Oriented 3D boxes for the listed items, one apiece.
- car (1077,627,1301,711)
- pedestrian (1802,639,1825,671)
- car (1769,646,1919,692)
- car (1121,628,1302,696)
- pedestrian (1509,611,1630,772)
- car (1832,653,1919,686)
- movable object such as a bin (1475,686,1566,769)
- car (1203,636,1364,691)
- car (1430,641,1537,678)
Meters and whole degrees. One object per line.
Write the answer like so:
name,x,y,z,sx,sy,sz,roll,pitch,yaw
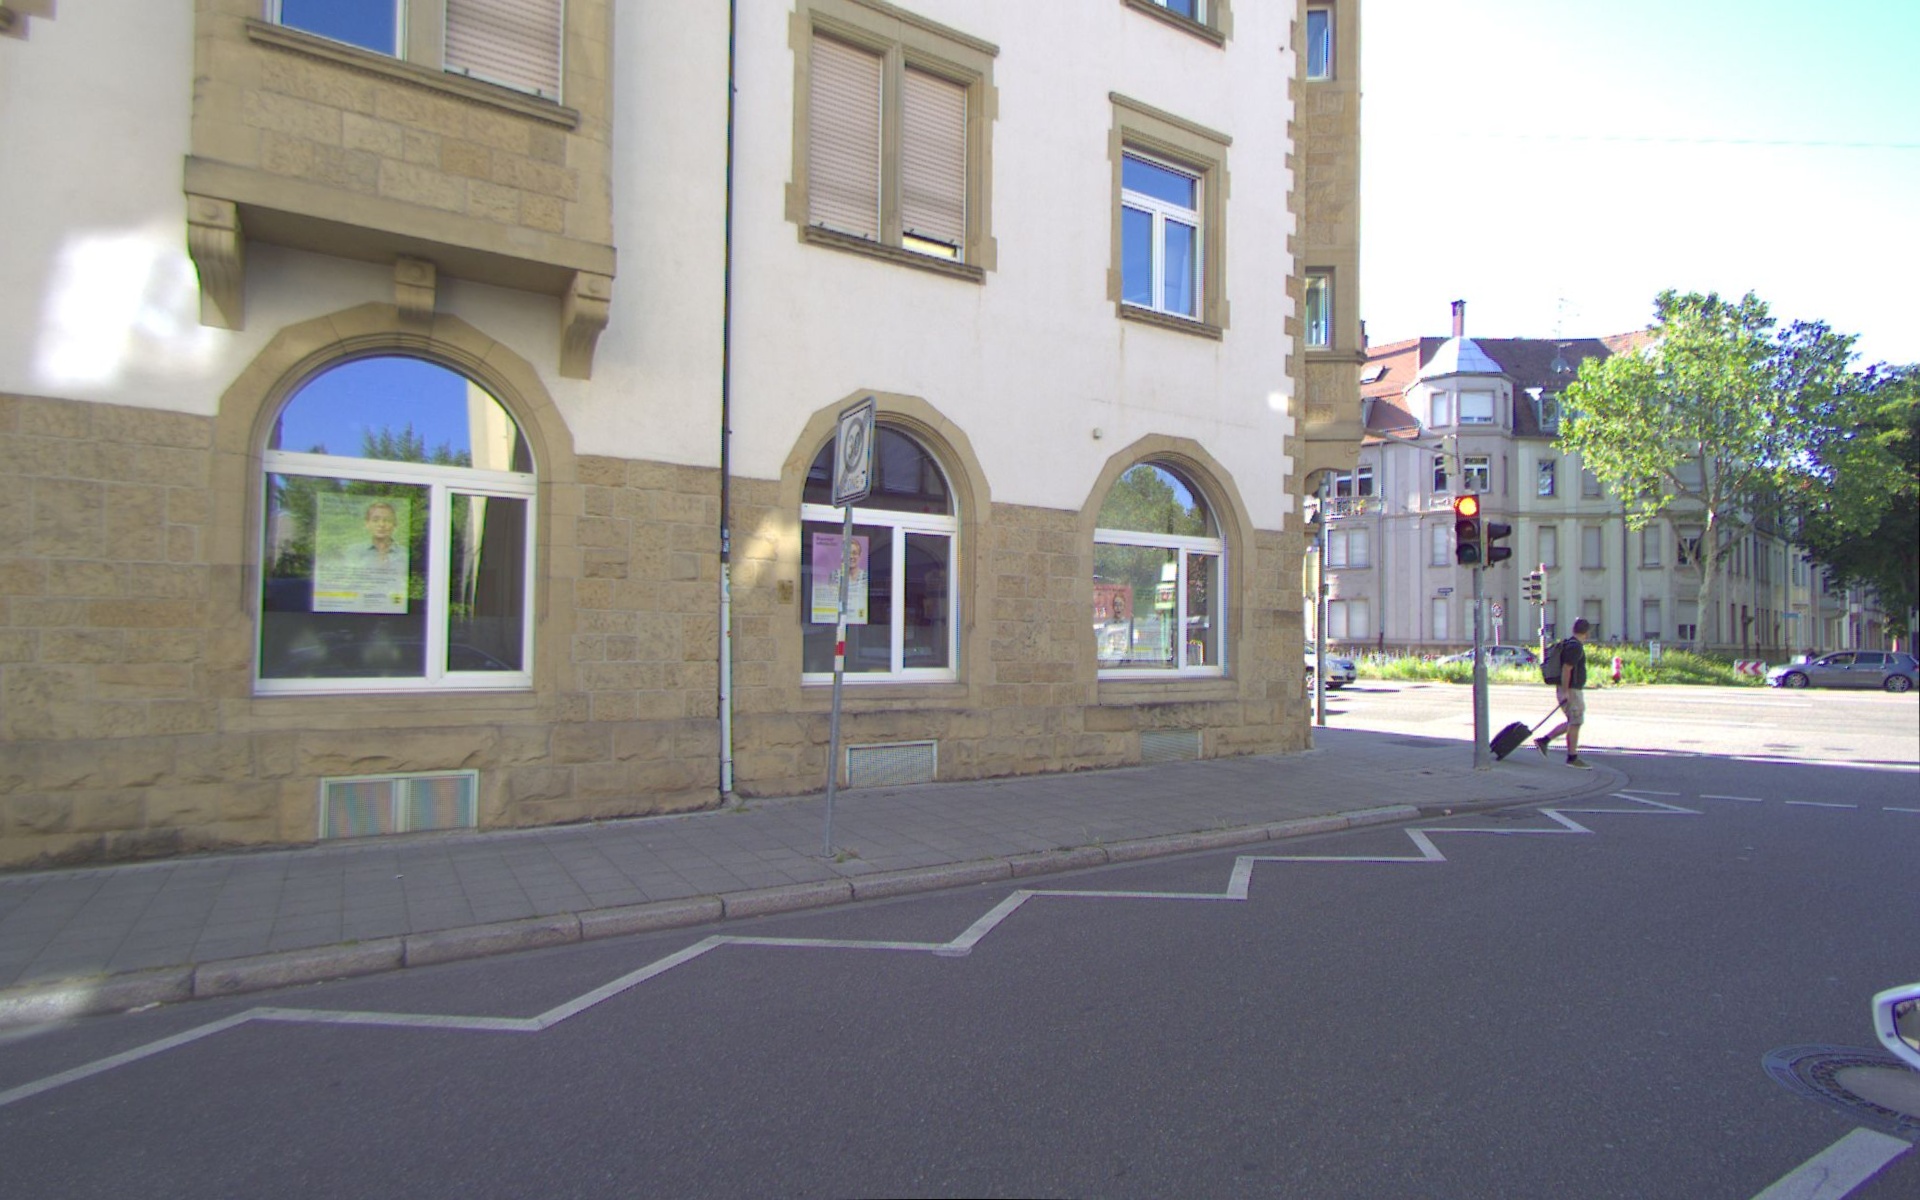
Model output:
car,5.196,1.508,23.152,4.639,1.716,2.069,-1,-2,41
pedestrian,39.678,2.551,46.688,0.486,1.461,0.697,2,0,-40
car,30.404,2.330,34.599,3.891,1.419,1.639,-1,-2,39
car,6.797,1.640,27.526,1.719,1.686,4.614,2,-2,-45
pedestrian,7.653,1.110,12.634,0.743,1.873,1.056,2,1,-42
car,45.448,3.407,49.502,1.647,1.476,3.595,2,-2,-44
movable object such as a bin,6.979,1.568,12.525,0.506,0.904,0.854,2,0,-42
car,9.336,1.787,29.174,4.156,1.476,1.669,-2,-2,43
car,21.907,2.472,42.060,3.736,1.419,1.639,-1,-2,40
